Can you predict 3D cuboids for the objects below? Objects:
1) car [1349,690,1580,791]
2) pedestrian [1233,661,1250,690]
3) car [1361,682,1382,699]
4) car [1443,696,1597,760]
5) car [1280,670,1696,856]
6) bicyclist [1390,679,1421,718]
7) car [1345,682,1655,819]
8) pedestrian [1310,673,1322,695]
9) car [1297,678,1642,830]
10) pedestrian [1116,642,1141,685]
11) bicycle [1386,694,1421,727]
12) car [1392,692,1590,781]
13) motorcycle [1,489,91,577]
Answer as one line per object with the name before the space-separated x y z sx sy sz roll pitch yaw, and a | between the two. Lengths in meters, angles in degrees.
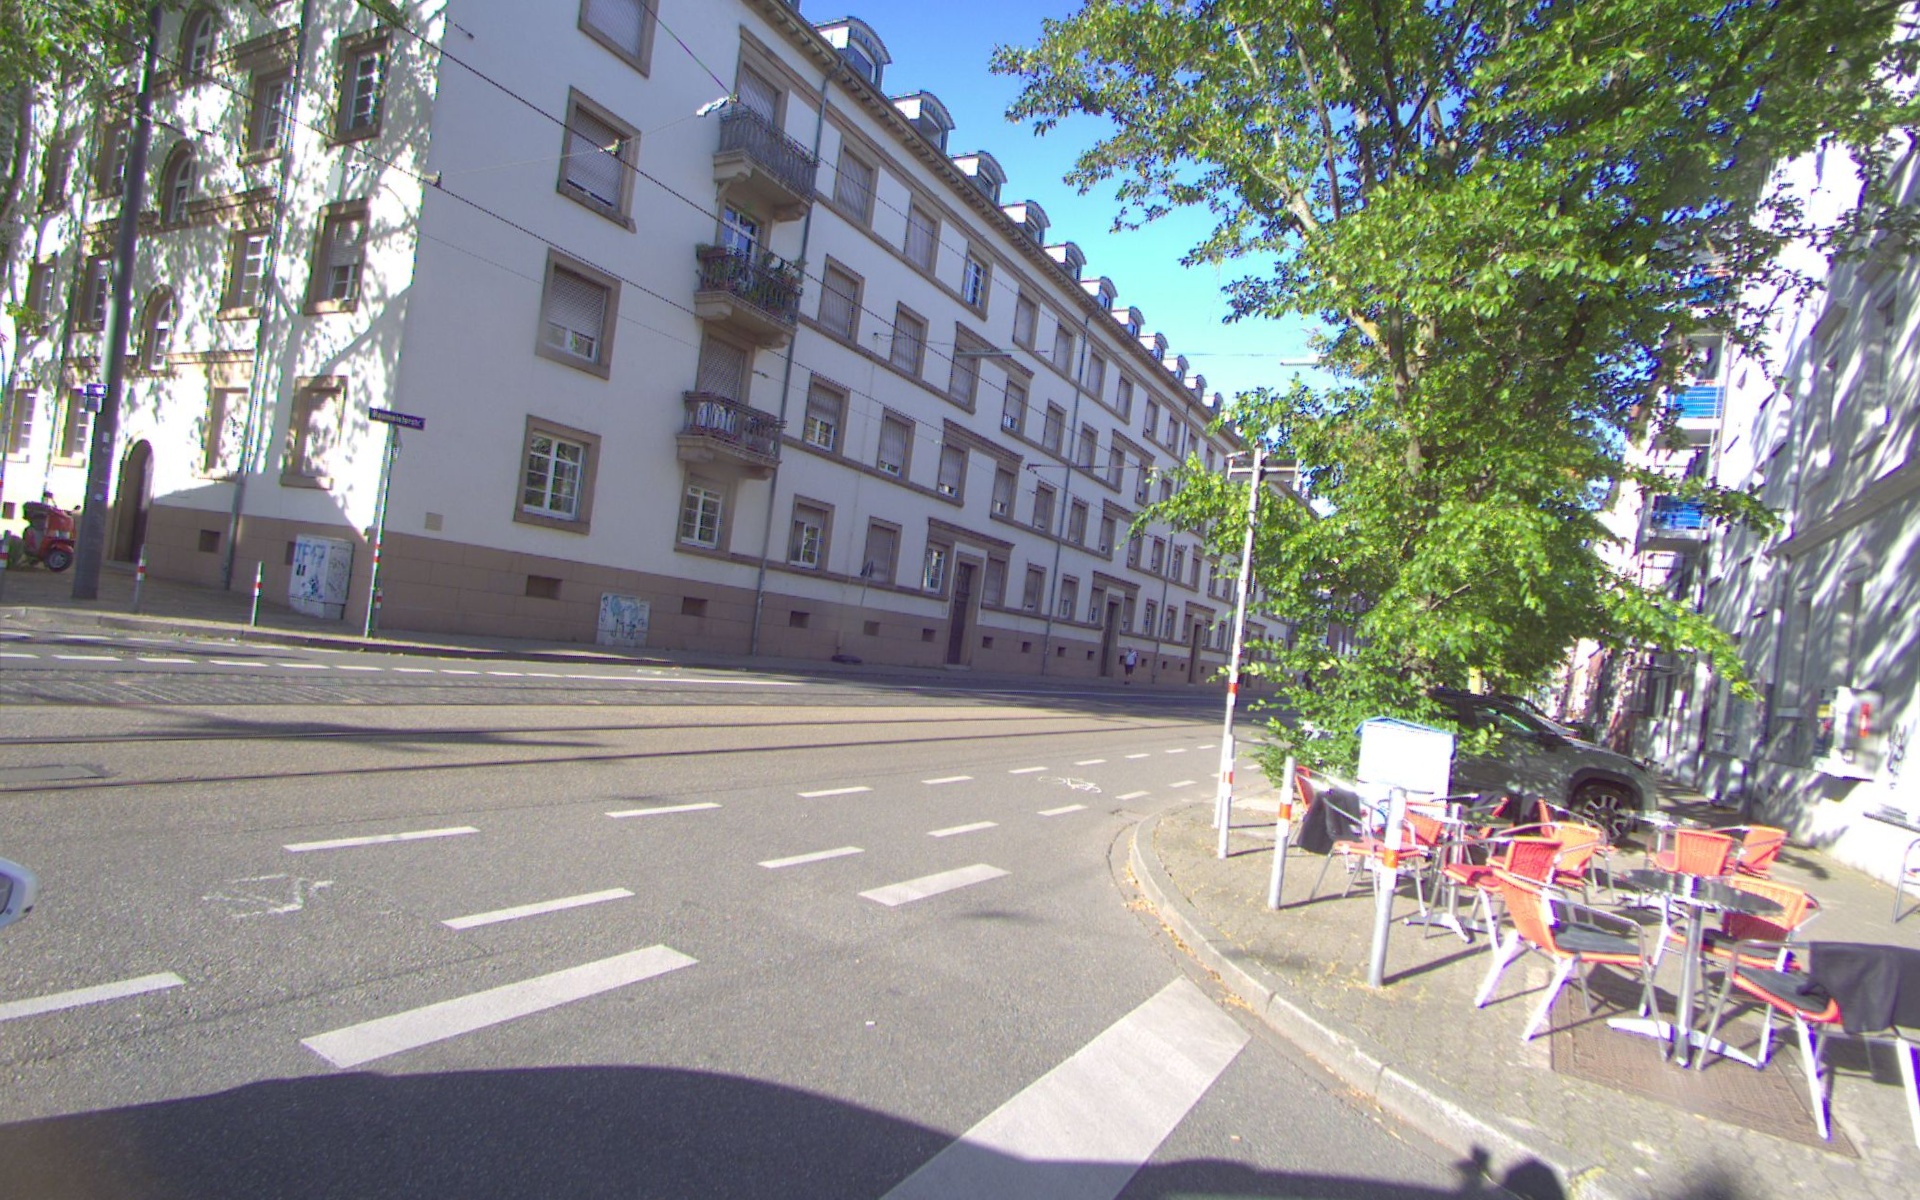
car | 10.678 2.949 21.600 4.057 1.506 1.621 6 -1 16
pedestrian | 18.984 5.080 67.912 0.725 1.859 0.696 8 0 29
car | 48.834 10.763 119.301 1.857 1.702 4.393 7 -3 27
car | 18.301 4.167 32.951 4.060 1.506 1.620 6 -1 -3
car | 6.233 1.898 12.273 4.057 1.574 1.621 6 -1 6
bicyclist | 18.440 4.086 41.636 0.886 1.471 1.261 7 -1 30
car | 8.697 2.392 16.526 4.056 1.574 1.621 6 -1 11
pedestrian | 31.776 7.527 89.763 0.725 1.859 0.696 8 0 29
car | 7.232 2.164 14.524 4.060 1.574 1.620 6 -1 -3
pedestrian | 7.899 2.976 47.057 0.725 1.859 0.696 8 0 29
bicycle | 18.390 4.566 41.649 0.886 1.178 3.245 7 -1 29
car | 12.887 3.286 24.682 4.061 1.506 1.619 6 -1 25
motorcycle | -16.270 -1.205 17.901 1.733 1.348 0.515 8 0 28
